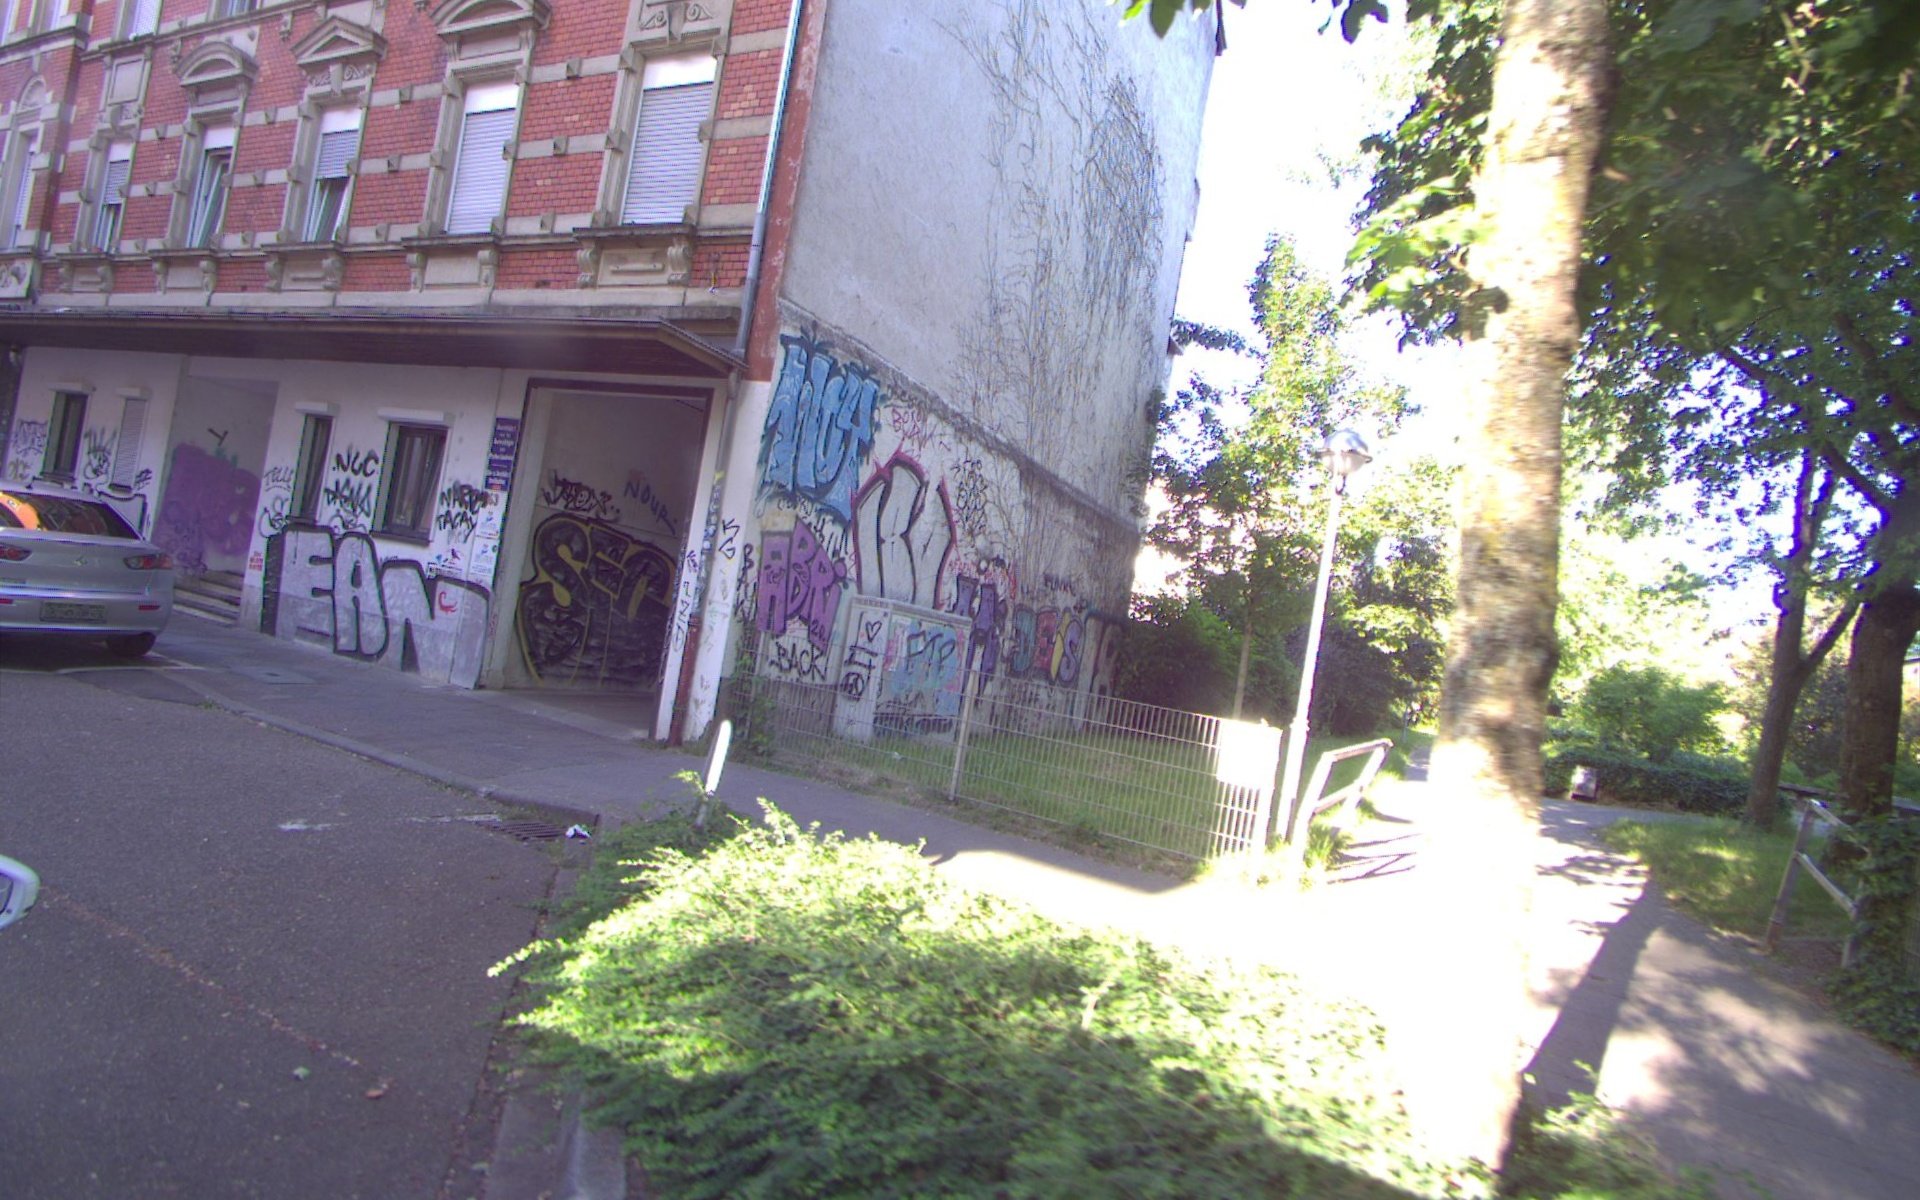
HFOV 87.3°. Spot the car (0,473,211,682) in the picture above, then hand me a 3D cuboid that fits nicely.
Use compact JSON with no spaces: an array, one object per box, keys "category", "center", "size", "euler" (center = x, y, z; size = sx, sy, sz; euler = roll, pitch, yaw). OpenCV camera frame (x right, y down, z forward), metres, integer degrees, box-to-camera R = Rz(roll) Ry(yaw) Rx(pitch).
[{"category":"car","center":[-9.257,-0.425,9.422],"size":[4.321,1.579,1.727],"euler":[9,-2,27]}]
